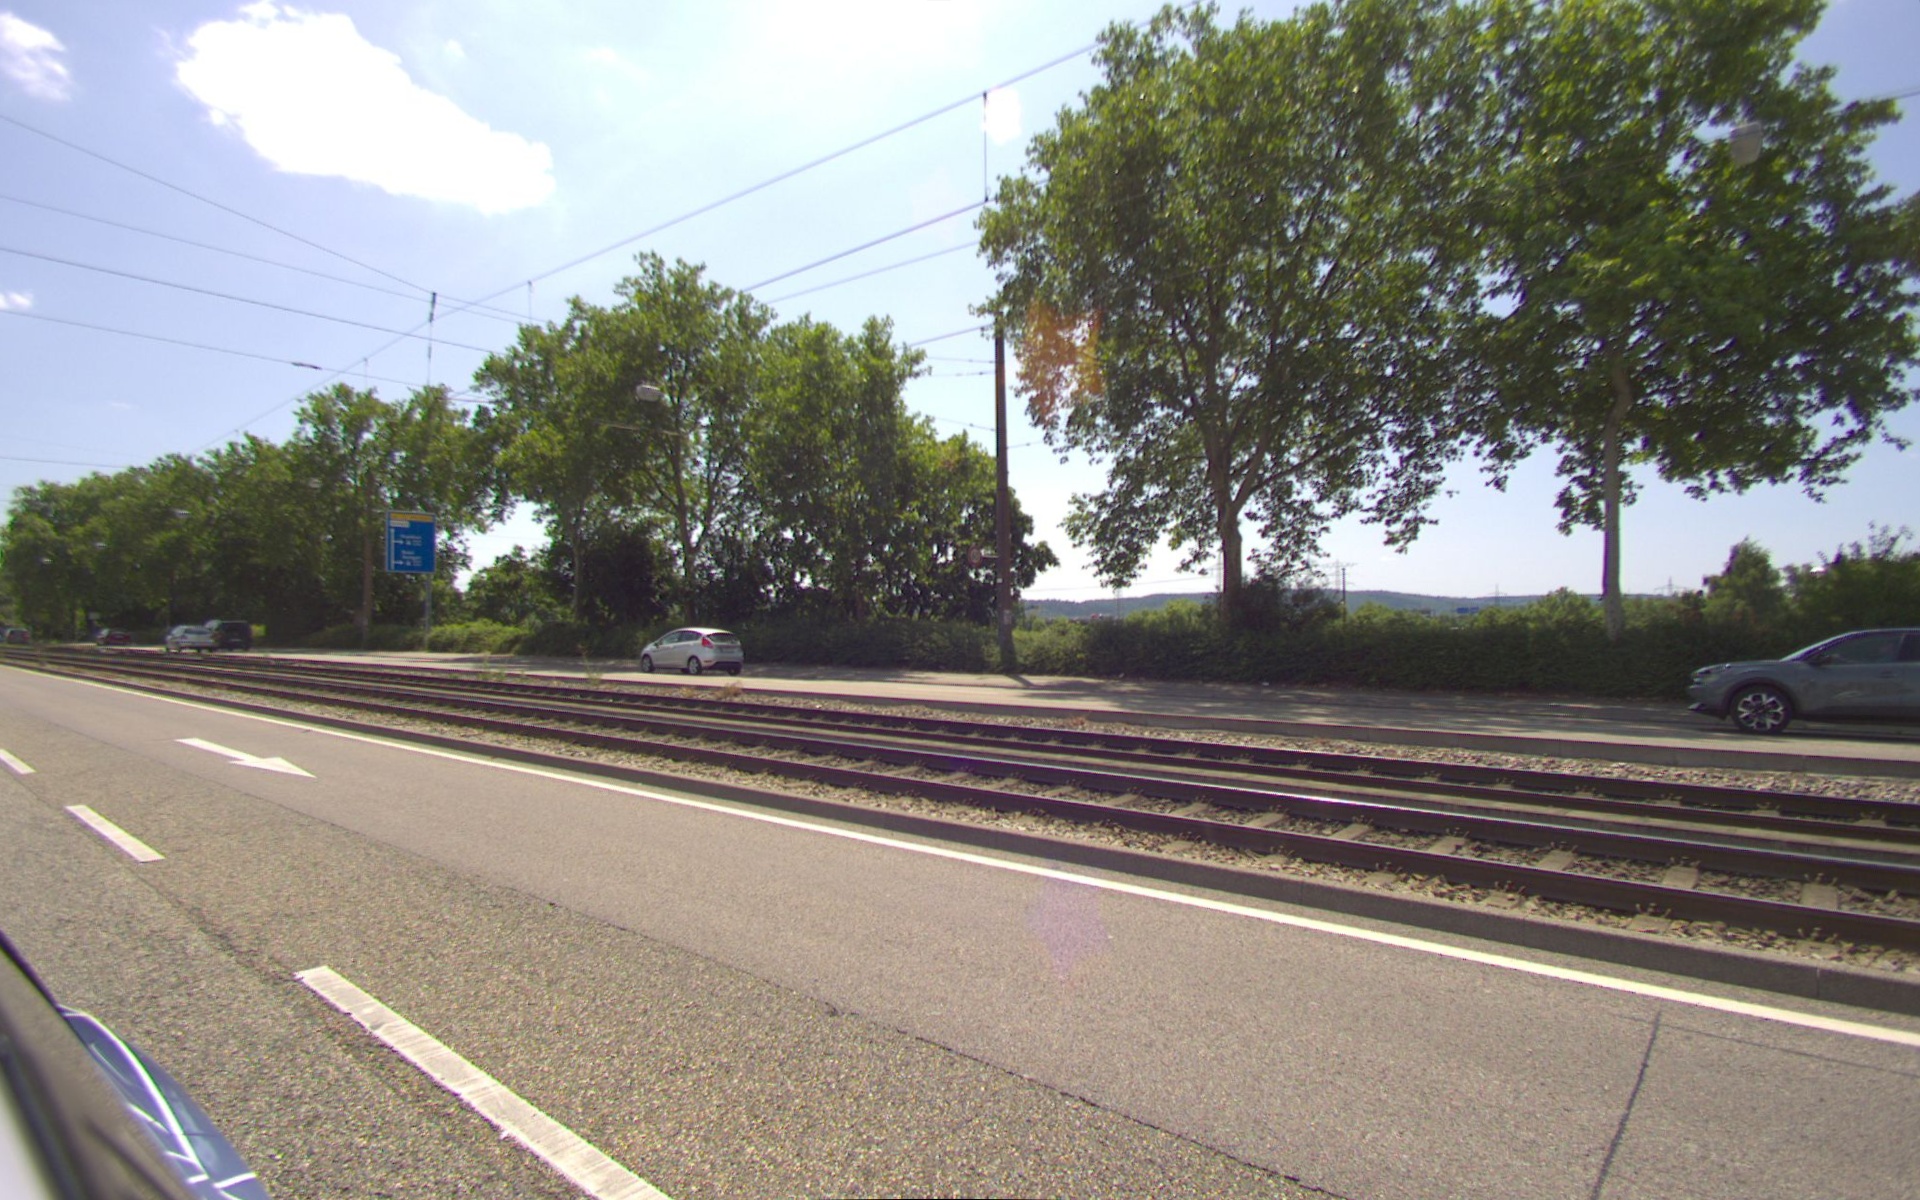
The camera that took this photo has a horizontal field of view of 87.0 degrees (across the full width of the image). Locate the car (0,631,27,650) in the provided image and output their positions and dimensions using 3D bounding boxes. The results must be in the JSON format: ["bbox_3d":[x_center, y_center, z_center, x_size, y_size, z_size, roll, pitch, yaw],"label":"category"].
[{"bbox_3d":[-97.718,4.172,103.978,4.965,1.845,1.973,-2,-4,40],"label":"car"}]

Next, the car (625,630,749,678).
[{"bbox_3d":[-8.572,1.679,31.683,3.879,1.427,1.804,-1,-4,39],"label":"car"}]

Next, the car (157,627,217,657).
[{"bbox_3d":[-42.498,2.320,55.606,4.055,1.596,1.668,-2,-5,40],"label":"car"}]

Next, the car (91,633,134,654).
[{"bbox_3d":[-70.833,3.644,84.554,4.464,1.683,1.973,-2,-4,40],"label":"car"}]

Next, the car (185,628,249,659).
[{"bbox_3d":[-45.832,2.671,62.398,4.965,1.845,1.973,-2,-4,40],"label":"car"}]

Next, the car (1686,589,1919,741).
[{"bbox_3d":[12.751,0.833,13.907,4.404,1.932,1.975,-2,0,38],"label":"car"}]
